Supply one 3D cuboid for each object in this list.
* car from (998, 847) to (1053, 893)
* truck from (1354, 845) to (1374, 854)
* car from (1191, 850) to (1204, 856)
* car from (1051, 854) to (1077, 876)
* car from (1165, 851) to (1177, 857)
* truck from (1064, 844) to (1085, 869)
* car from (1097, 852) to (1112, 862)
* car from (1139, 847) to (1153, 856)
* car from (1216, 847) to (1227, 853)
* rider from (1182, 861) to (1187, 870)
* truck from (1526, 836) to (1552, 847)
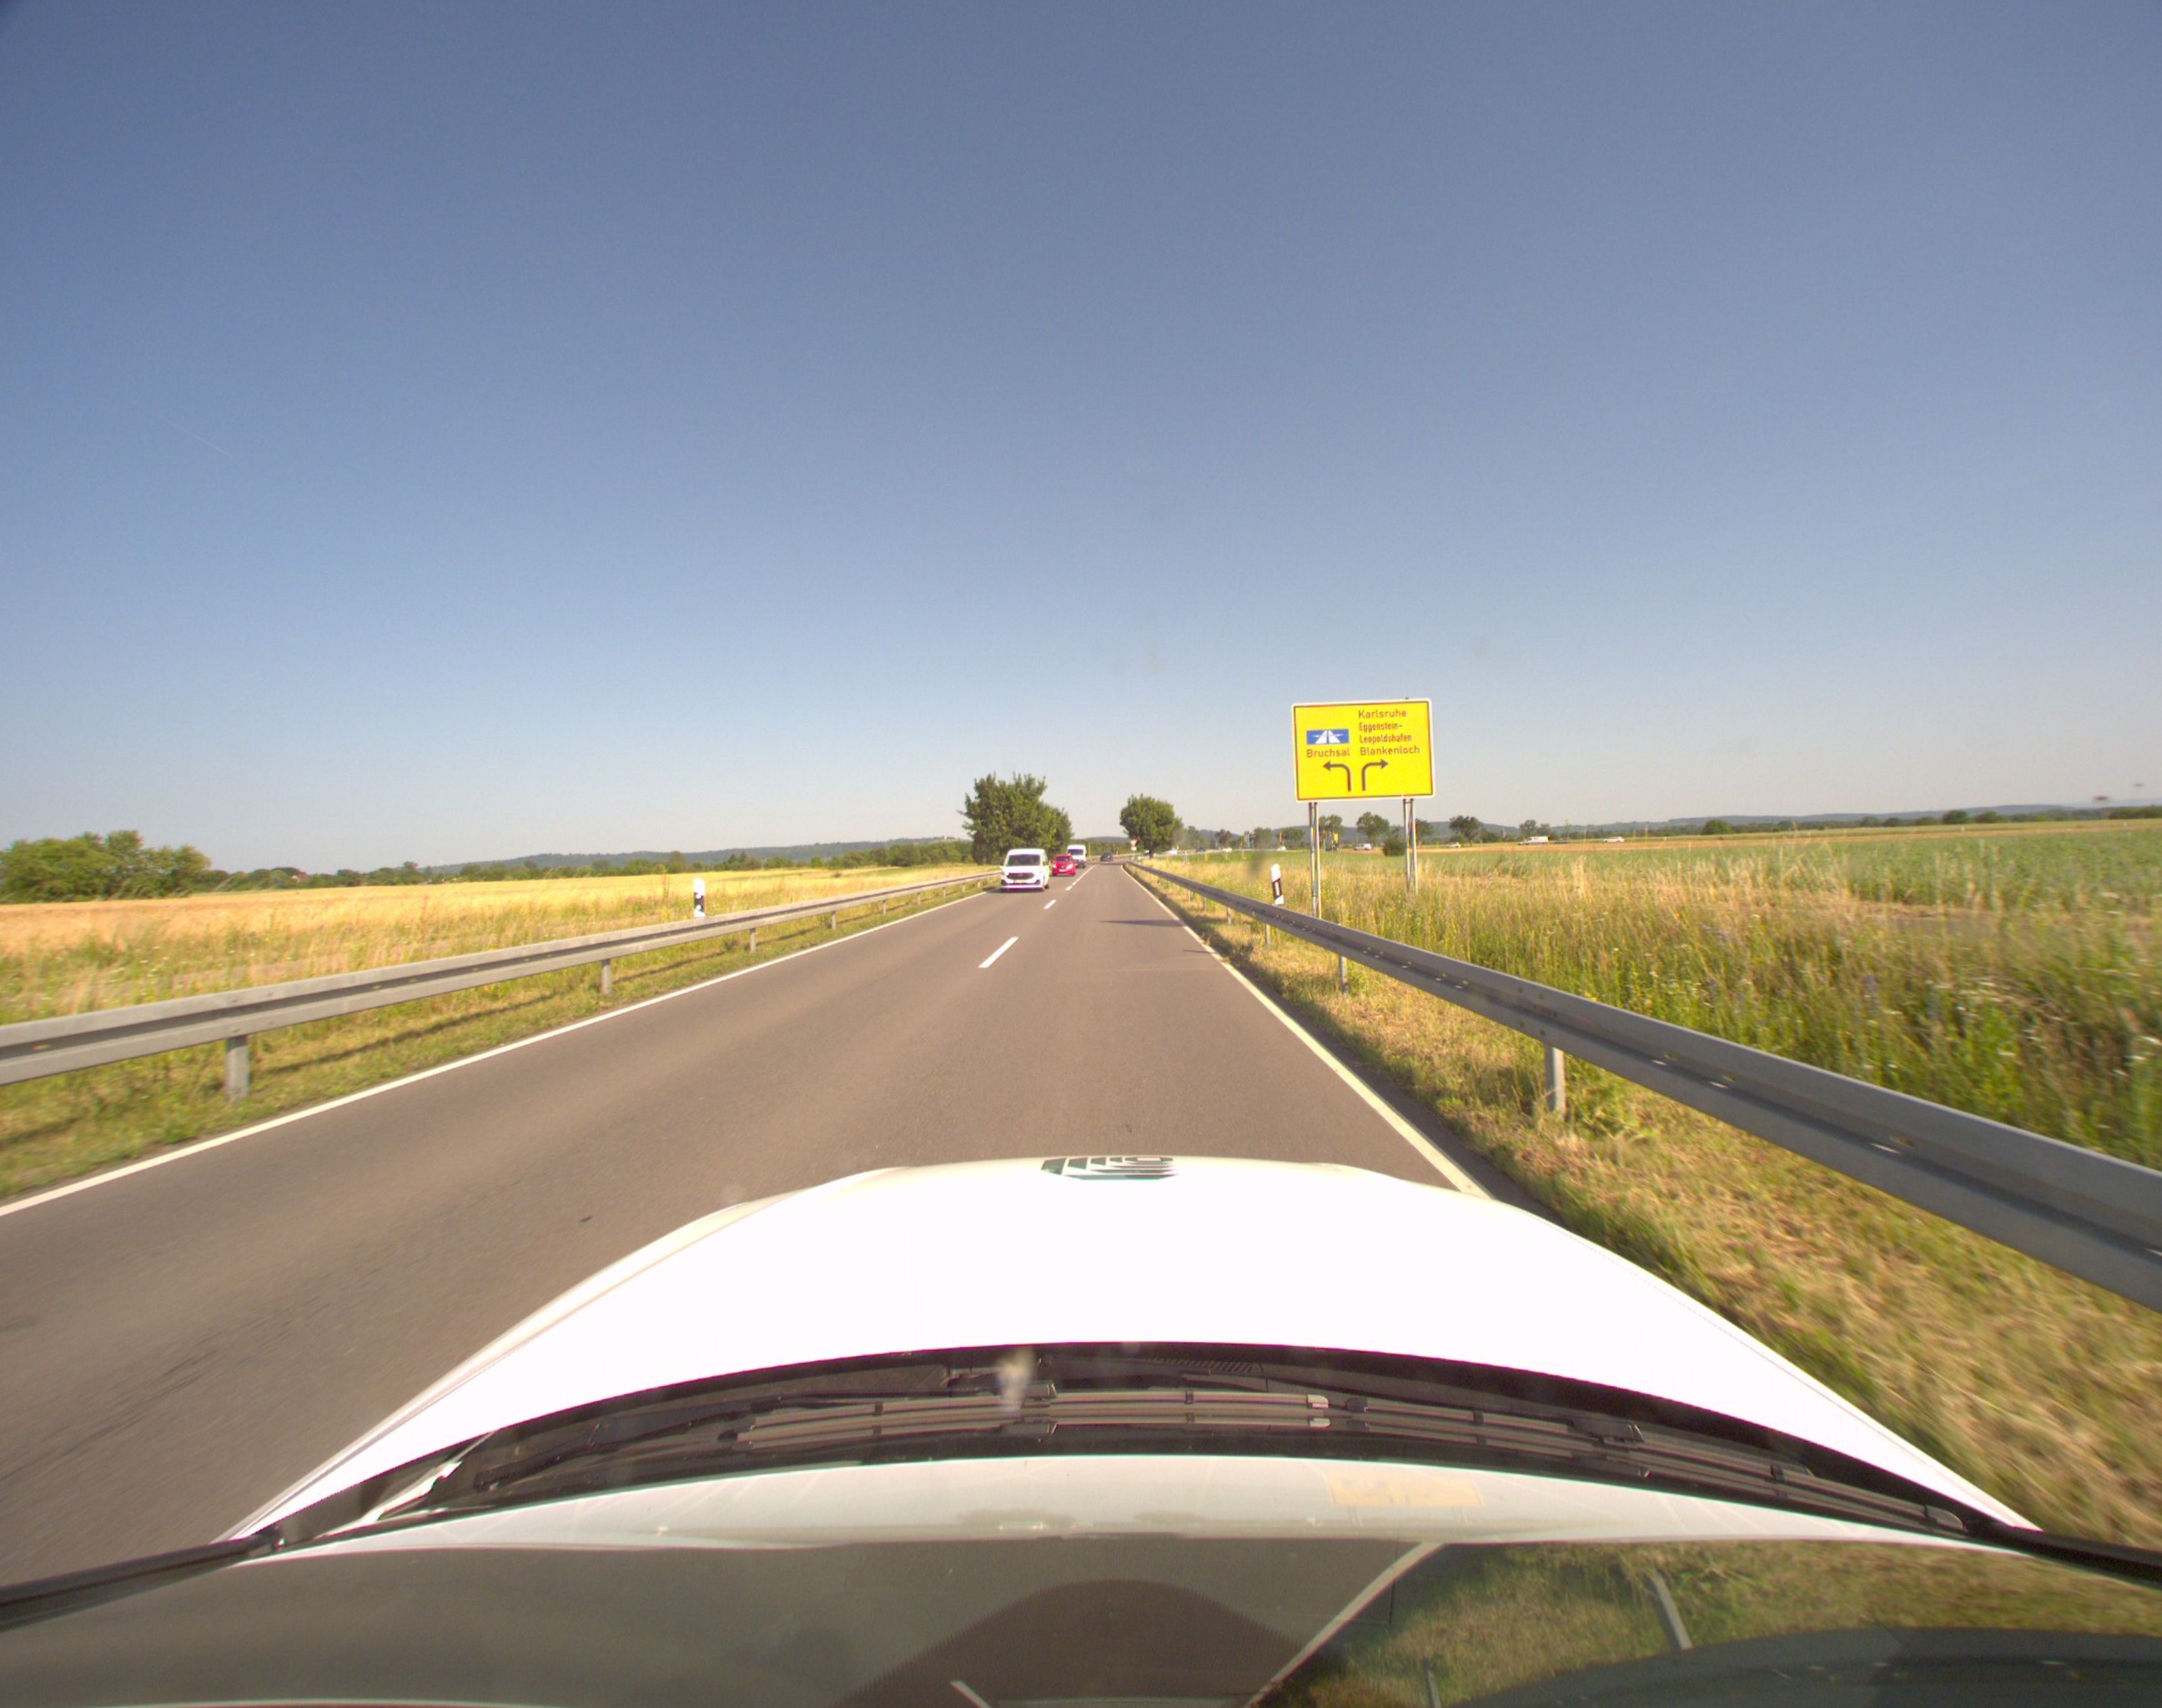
[{"bbox_3d":[-2.292,0.628,34.938,1.829,1.787,4.437,-2,0,2],"label":"car"},{"bbox_3d":[83.397,-1.395,239.882,5.003,2.529,2.012,-1,-1,44],"label":"truck"},{"bbox_3d":[29.667,-0.334,207.007,1.976,1.532,4.617,0,0,24],"label":"car"},{"bbox_3d":[-1.192,0.731,58.463,1.600,1.488,3.781,-1,0,2],"label":"car"},{"bbox_3d":[20.601,-0.005,186.301,1.886,1.532,4.614,0,0,19],"label":"car"},{"bbox_3d":[-0.650,0.302,86.995,1.986,2.520,6.246,-1,0,2],"label":"truck"},{"bbox_3d":[3.872,0.483,132.196,1.633,1.471,3.820,-1,0,13],"label":"car"},{"bbox_3d":[13.540,-0.554,169.920,1.977,1.884,4.613,0,0,18],"label":"car"},{"bbox_3d":[40.138,-1.152,232.054,1.975,1.532,4.617,0,0,24],"label":"car"},{"bbox_3d":[16.616,1.829,130.619,0.604,1.527,1.833,-1,-1,15],"label":"rider"},{"bbox_3d":[119.766,-3.276,212.999,5.526,2.695,3.315,-1,-1,34],"label":"truck"}]
